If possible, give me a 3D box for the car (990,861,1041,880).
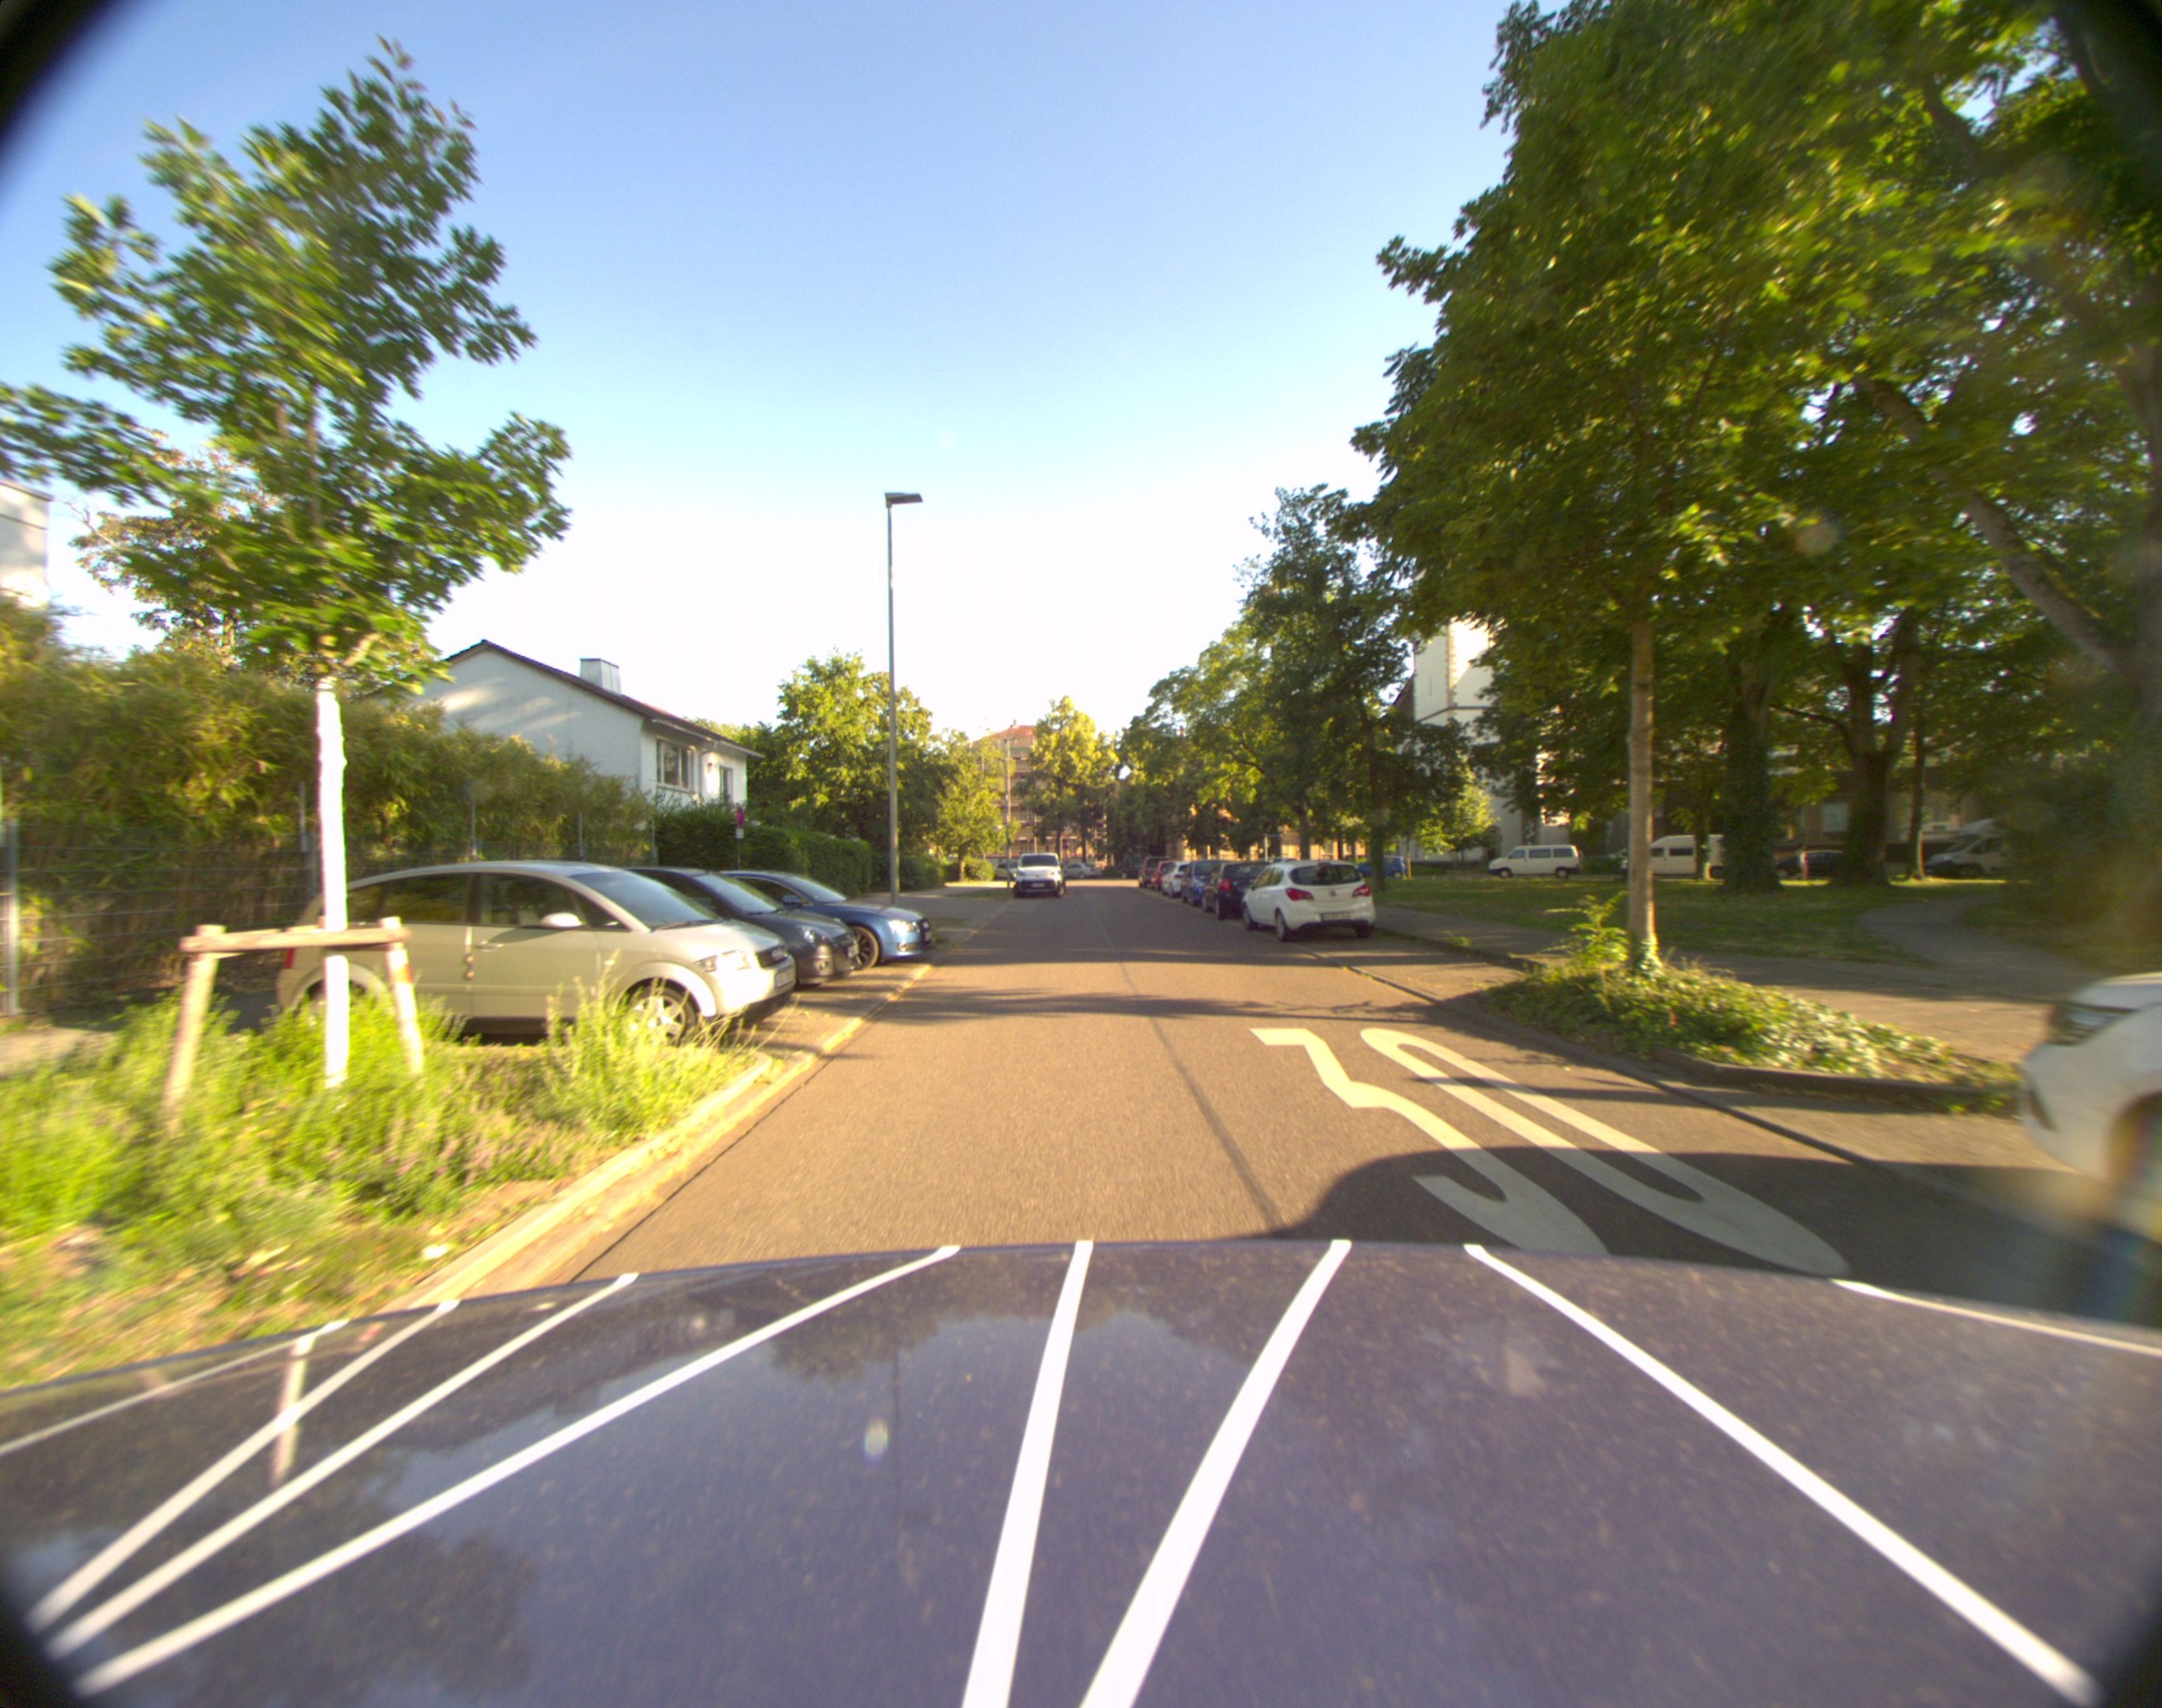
[{"bbox_3d":[-5.338,1.335,61.250,1.774,1.459,4.852,-1,0,-37],"label":"car"}]

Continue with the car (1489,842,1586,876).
[{"bbox_3d":[27.170,0.302,45.300,4.827,1.935,1.861,-1,0,34],"label":"car"}]

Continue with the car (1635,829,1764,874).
[{"bbox_3d":[33.547,-0.102,41.429,5.172,2.342,1.861,-1,0,29],"label":"car"}]

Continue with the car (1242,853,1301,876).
[{"bbox_3d":[13.625,0.753,54.482,3.686,1.570,1.713,-1,0,34],"label":"car"}]

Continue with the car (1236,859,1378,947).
[{"bbox_3d":[4.367,0.872,15.280,1.596,1.517,3.864,-1,0,-2],"label":"car"}]

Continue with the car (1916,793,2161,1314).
[{"bbox_3d":[4.714,0.680,1.169,1.786,1.830,4.552,-1,0,-1],"label":"car"}]

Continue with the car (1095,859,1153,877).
[{"bbox_3d":[3.471,1.126,61.801,4.482,1.407,1.835,-1,-2,36],"label":"car"}]

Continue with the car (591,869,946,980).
[{"bbox_3d":[-4.543,1.004,11.580,4.600,1.407,1.922,1,1,0],"label":"car"}]

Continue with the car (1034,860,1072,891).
[{"bbox_3d":[-1.441,1.071,39.167,1.770,1.459,4.864,-1,0,-2],"label":"car"}]

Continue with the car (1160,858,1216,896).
[{"bbox_3d":[4.306,0.890,31.134,1.694,1.398,3.975,-3,0,0],"label":"car"}]

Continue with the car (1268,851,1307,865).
[{"bbox_3d":[24.879,0.512,91.616,4.217,1.646,2.000,-1,0,-1],"label":"car"}]

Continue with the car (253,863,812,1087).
[{"bbox_3d":[-4.393,0.901,6.606,3.503,1.575,1.761,-1,0,-4],"label":"car"}]

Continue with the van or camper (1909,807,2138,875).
[{"bbox_3d":[43.343,-0.521,35.248,6.314,2.891,2.101,-1,0,32],"label":"van or camper"}]

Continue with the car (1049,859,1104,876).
[{"bbox_3d":[-0.397,1.197,64.509,4.485,1.407,1.789,-1,-2,39],"label":"car"}]

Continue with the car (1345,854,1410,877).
[{"bbox_3d":[19.655,0.770,50.398,3.686,1.492,1.624,-1,0,34],"label":"car"}]

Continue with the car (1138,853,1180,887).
[{"bbox_3d":[4.228,0.838,41.929,1.806,1.666,4.320,-3,0,0],"label":"car"}]

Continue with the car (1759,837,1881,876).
[{"bbox_3d":[37.636,0.165,38.858,4.133,1.874,1.861,-1,0,29],"label":"car"}]

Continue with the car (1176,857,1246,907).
[{"bbox_3d":[4.278,0.876,25.485,1.642,1.487,3.705,-3,0,0],"label":"car"}]

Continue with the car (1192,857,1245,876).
[{"bbox_3d":[10.314,0.967,57.105,3.595,1.431,1.621,-1,-1,36],"label":"car"}]

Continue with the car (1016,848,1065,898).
[{"bbox_3d":[-1.743,0.772,33.335,1.958,2.002,5.152,-1,0,-2],"label":"car"}]

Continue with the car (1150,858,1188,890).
[{"bbox_3d":[4.248,0.953,37.083,1.391,1.415,3.426,-3,0,0],"label":"car"}]

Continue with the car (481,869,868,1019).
[{"bbox_3d":[-4.662,0.990,9.205,3.692,1.515,1.791,-1,0,-4],"label":"car"}]

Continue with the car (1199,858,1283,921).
[{"bbox_3d":[4.190,0.870,20.422,1.555,1.486,3.943,-1,0,3],"label":"car"}]

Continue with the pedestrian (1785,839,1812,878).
[{"bbox_3d":[29.289,0.170,30.999,0.765,1.565,0.777,-1,0,44],"label":"pedestrian"}]
